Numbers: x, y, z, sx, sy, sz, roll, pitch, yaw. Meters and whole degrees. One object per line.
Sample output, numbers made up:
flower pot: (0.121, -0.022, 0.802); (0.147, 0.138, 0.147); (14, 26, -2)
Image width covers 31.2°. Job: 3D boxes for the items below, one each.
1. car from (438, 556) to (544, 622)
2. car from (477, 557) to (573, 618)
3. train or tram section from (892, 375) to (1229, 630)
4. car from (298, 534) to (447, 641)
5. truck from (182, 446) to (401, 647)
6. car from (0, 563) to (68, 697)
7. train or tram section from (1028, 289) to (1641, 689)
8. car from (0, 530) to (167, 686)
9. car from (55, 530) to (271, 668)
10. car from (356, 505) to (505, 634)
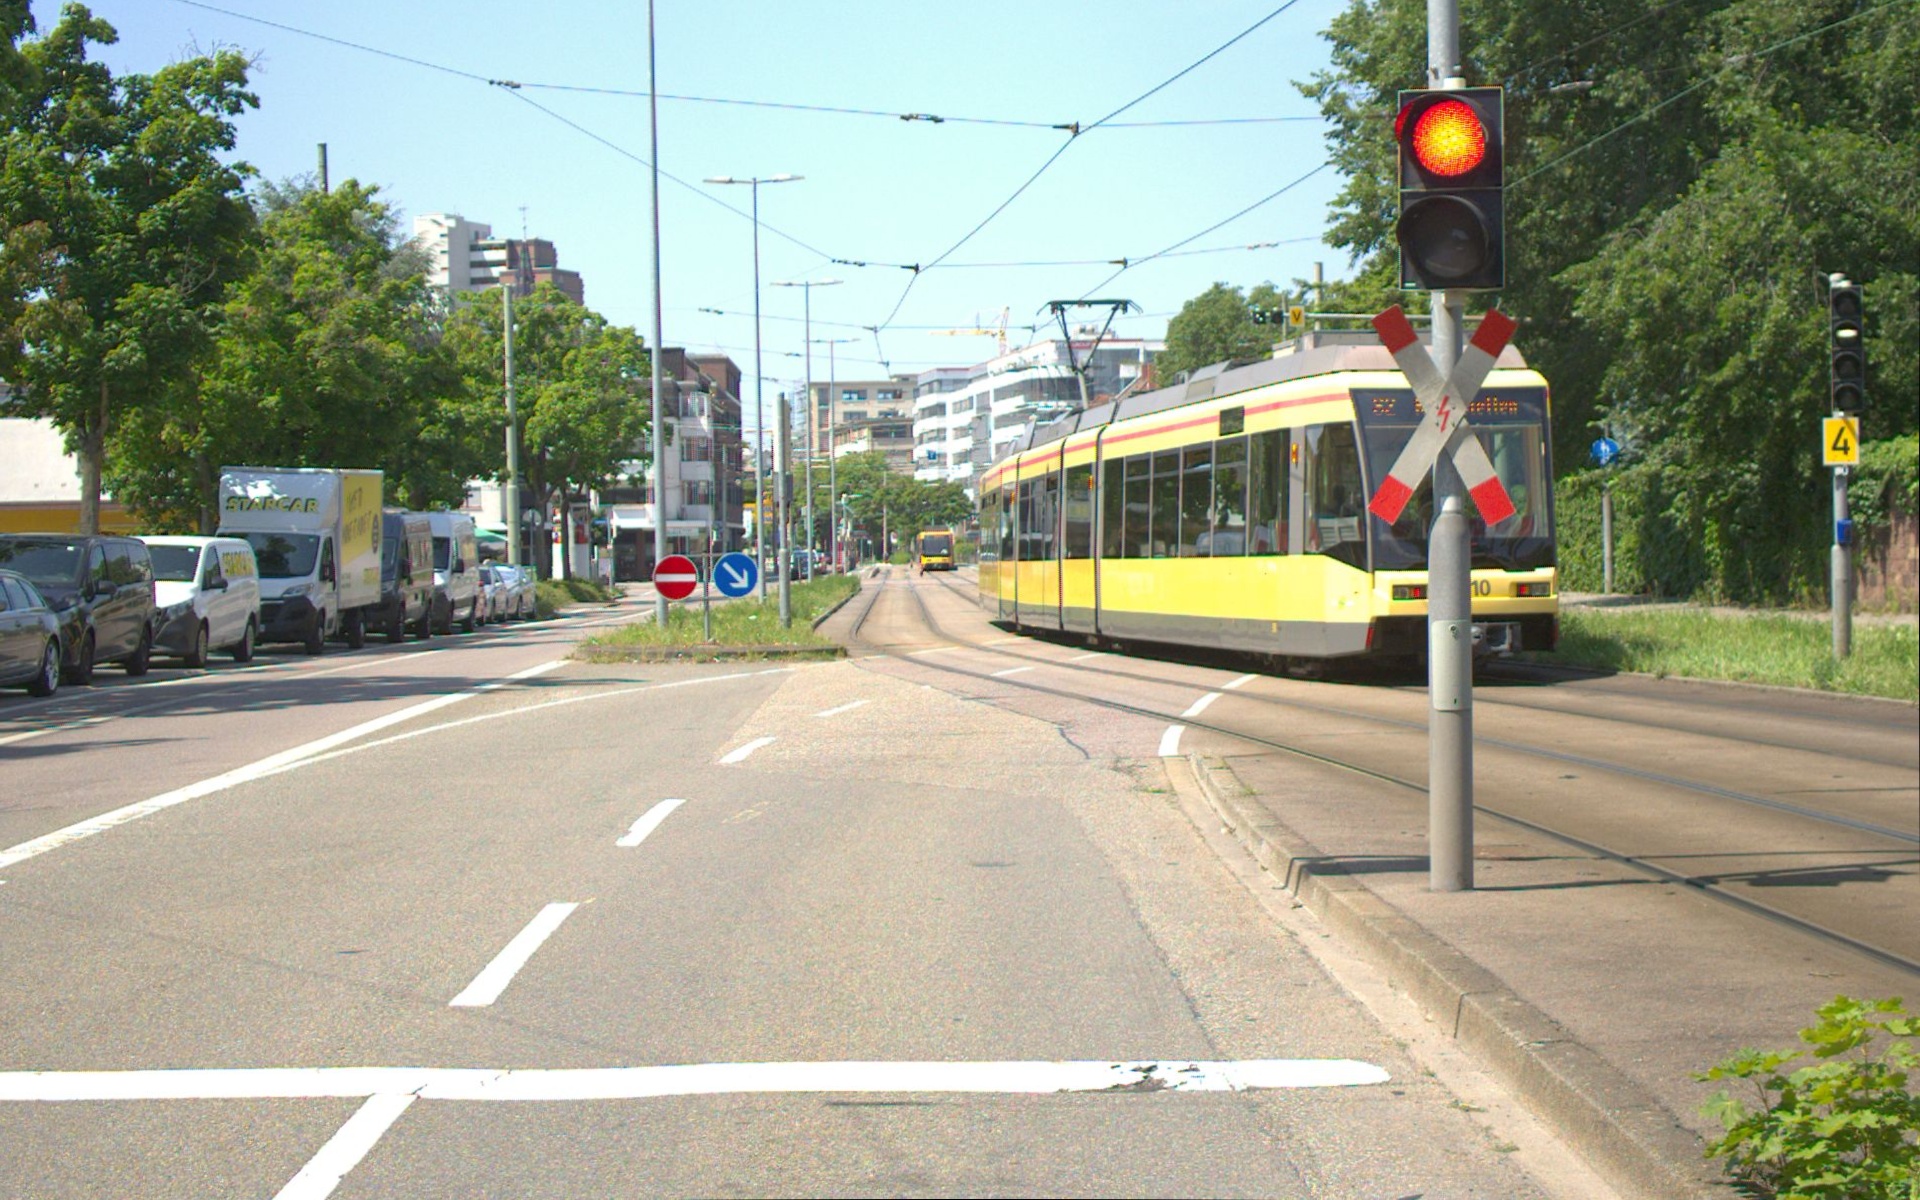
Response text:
car: (-12.054, -0.298, 88.600); (2.061, 1.576, 4.871); (-1, 1, 0)
car: (-12.097, -0.376, 95.919); (2.061, 1.576, 4.871); (-1, 1, 0)
train or tram section: (1.277, -1.629, 60.022); (2.943, 3.679, 20.288); (0, 1, -7)
car: (-11.397, -0.278, 67.021); (2.061, 1.970, 4.871); (-1, 1, 0)
truck: (-11.492, -0.946, 59.645); (2.157, 3.199, 7.082); (2, 1, 1)
car: (-11.340, 0.340, 37.892); (1.868, 1.432, 4.343); (-1, 1, 0)
train or tram section: (3.663, -1.216, 40.912); (2.943, 3.679, 18.394); (0, 1, -8)
car: (-11.645, 0.067, 44.212); (1.868, 1.888, 4.271); (-1, 1, 0)
car: (-11.755, -0.059, 51.034); (2.061, 1.891, 4.871); (-1, 1, 0)
car: (-11.503, -0.701, 75.058); (2.157, 2.630, 5.611); (2, 1, 1)
